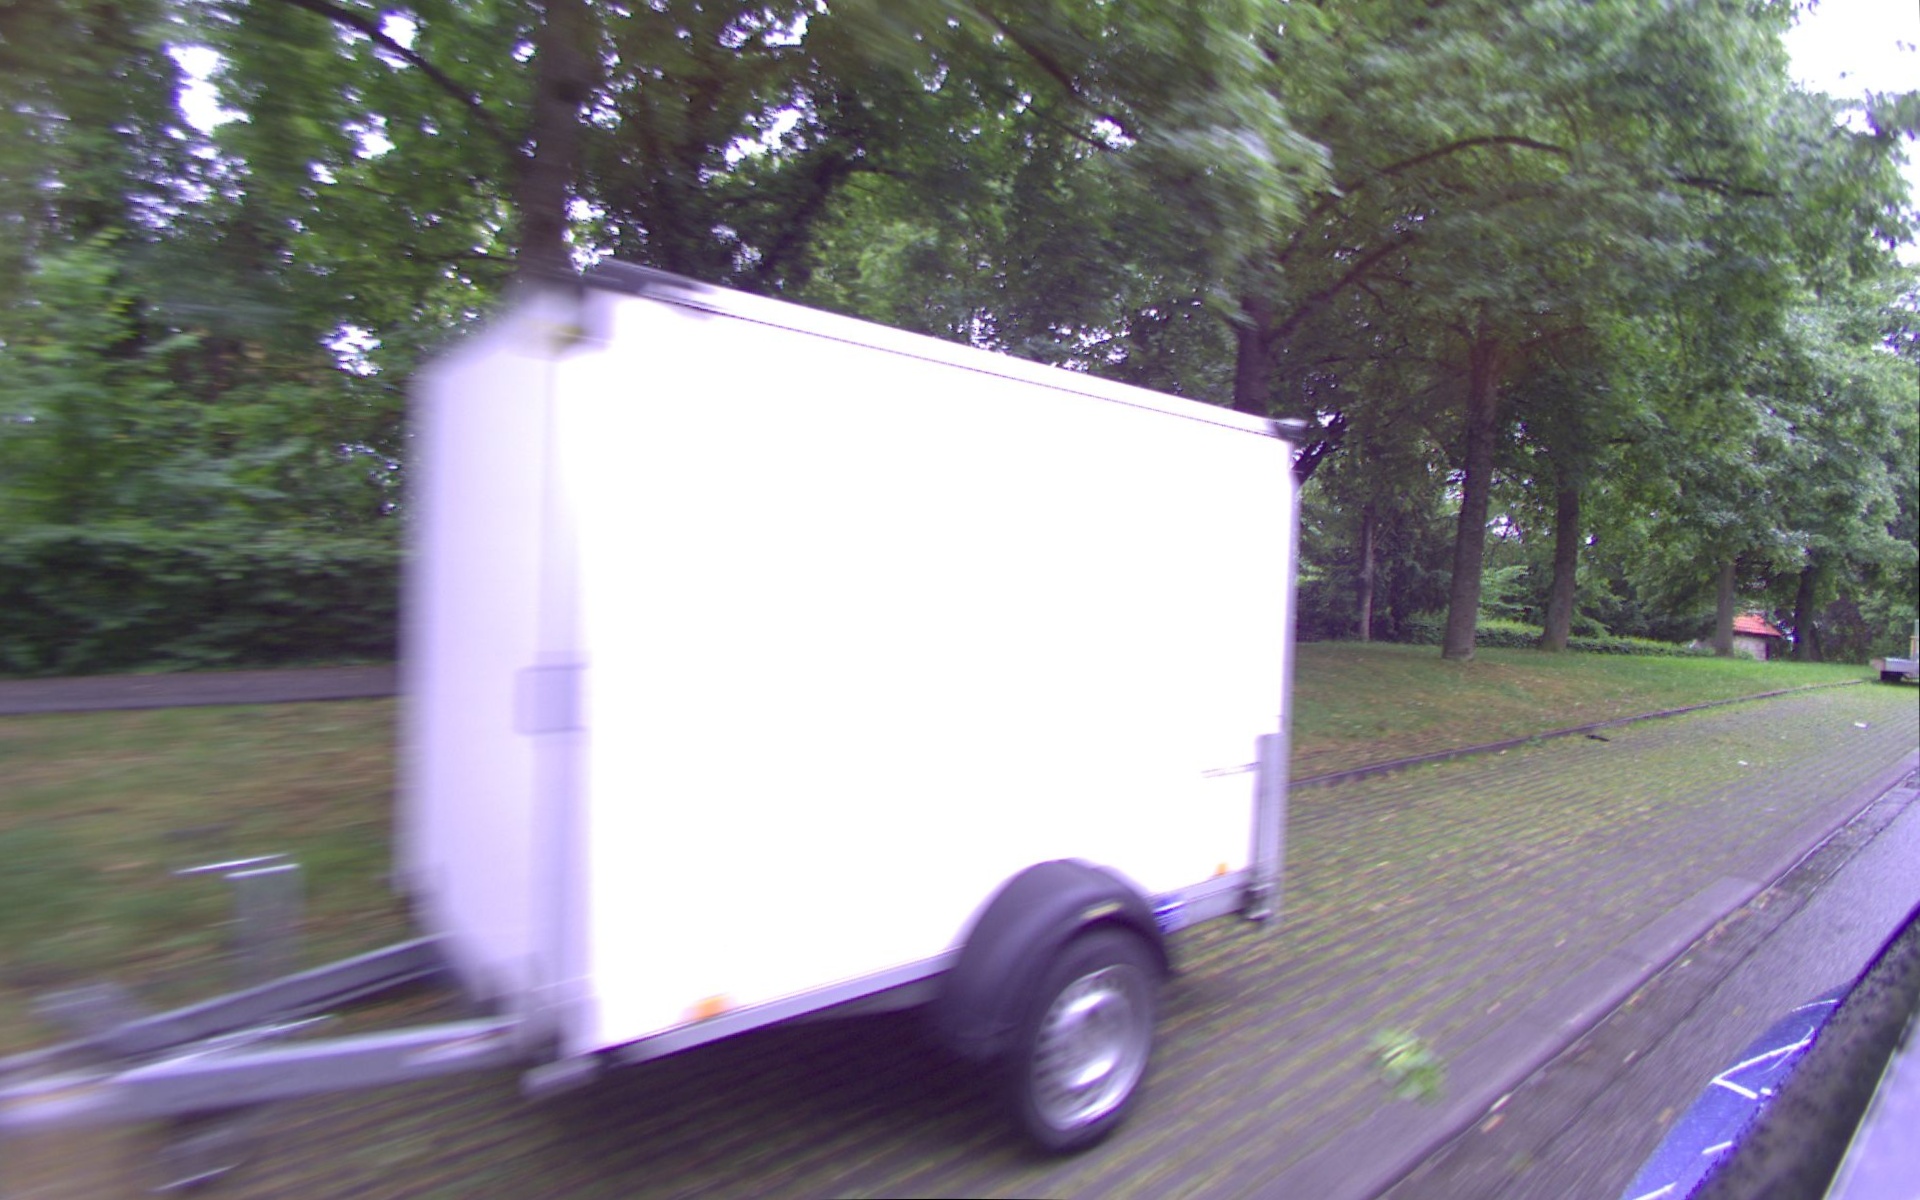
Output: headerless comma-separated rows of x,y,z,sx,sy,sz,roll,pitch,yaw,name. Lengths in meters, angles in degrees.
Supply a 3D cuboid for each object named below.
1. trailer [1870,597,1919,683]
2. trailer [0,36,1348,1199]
23.141,0.952,23.231,5.785,1.835,2.455,2,1,-39,trailer
-0.613,0.256,3.007,3.929,2.101,1.533,0,2,-40,trailer
